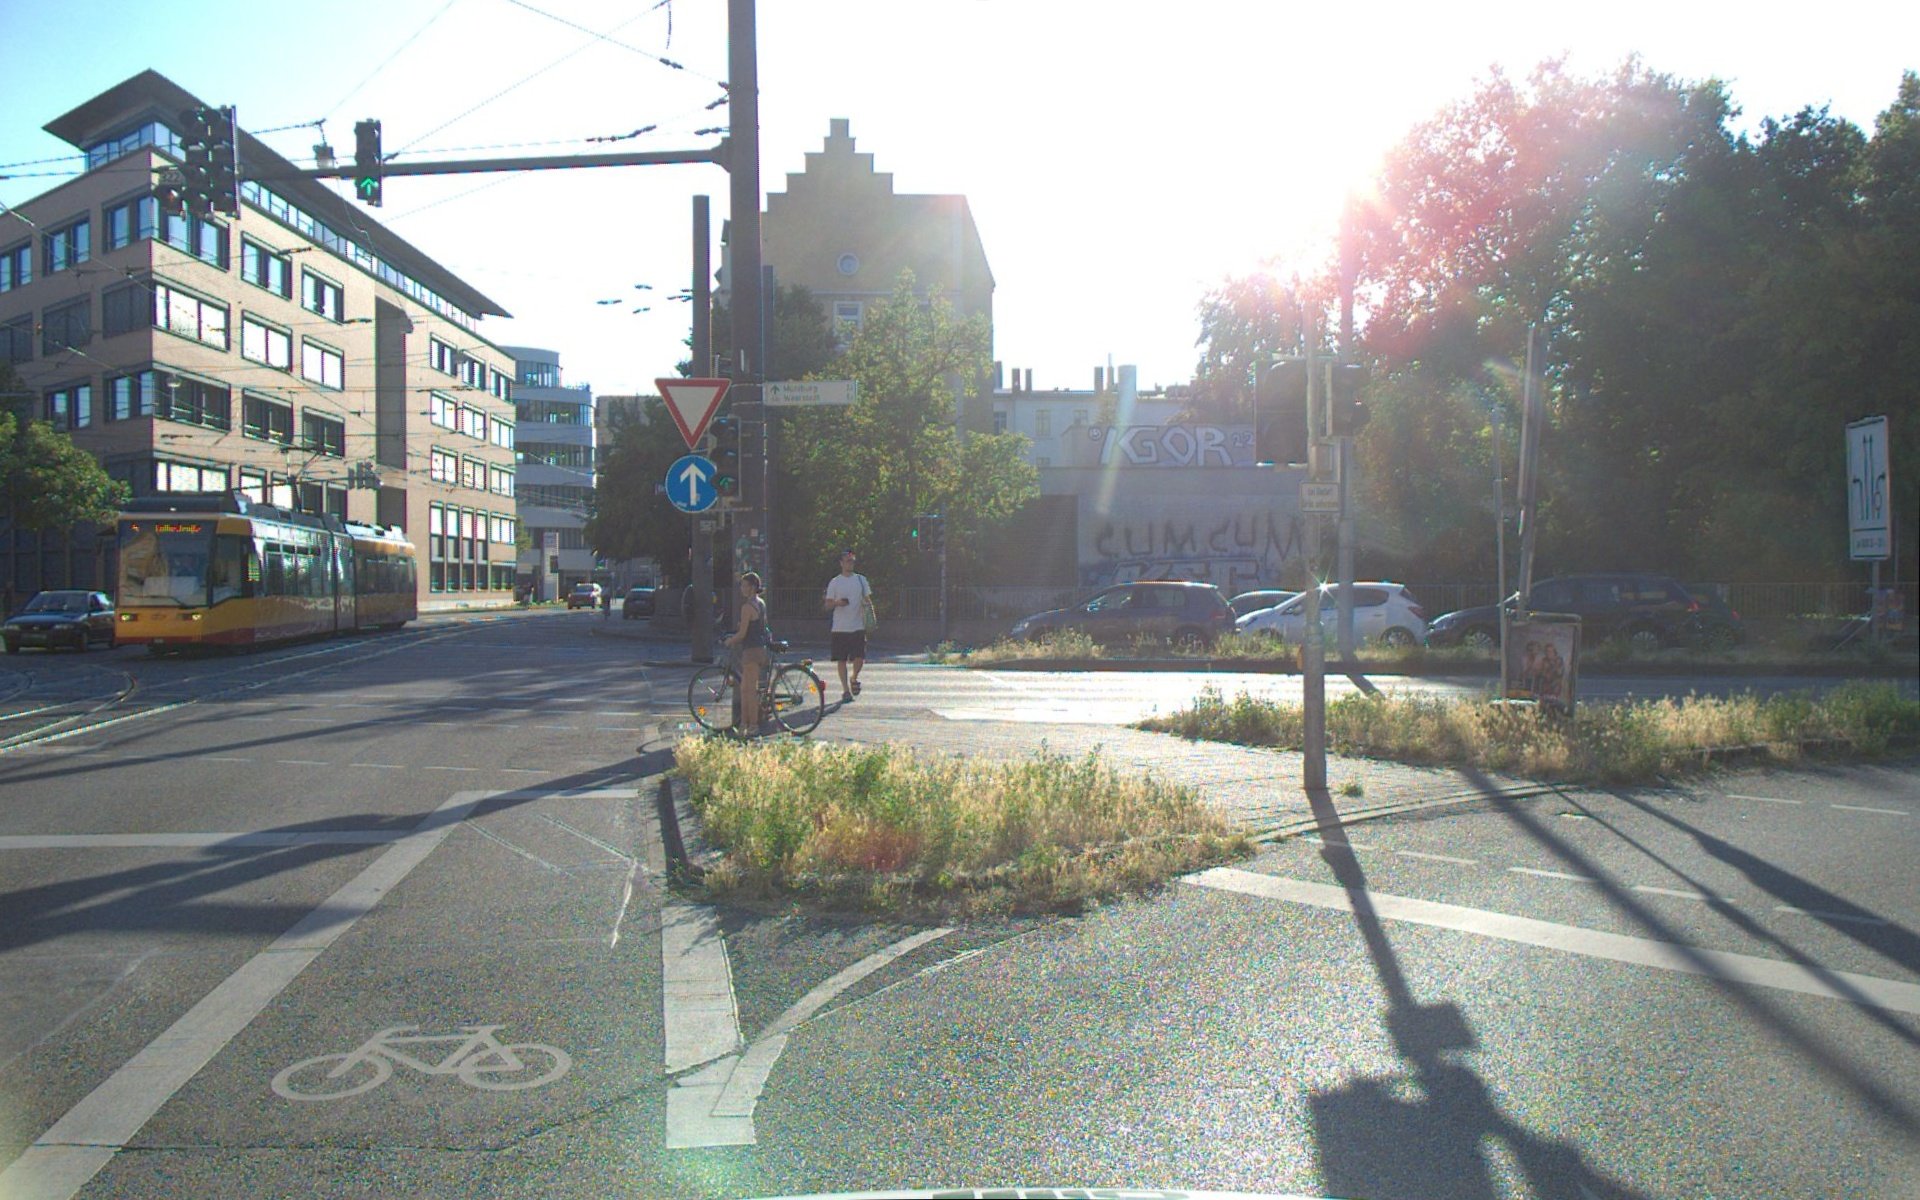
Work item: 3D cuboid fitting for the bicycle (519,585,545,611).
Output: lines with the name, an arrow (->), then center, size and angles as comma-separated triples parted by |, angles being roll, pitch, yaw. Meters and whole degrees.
bicycle -> -28.071, -0.162, 108.489 | 1.009, 1.680, 2.561 | -1, 0, 1

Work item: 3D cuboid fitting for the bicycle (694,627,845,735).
bicycle -> -1.955, 0.801, 16.825 | 1.636, 1.047, 0.398 | 0, 0, 33

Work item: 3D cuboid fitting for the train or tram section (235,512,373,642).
train or tram section -> -19.088, -0.653, 48.416 | 2.810, 3.569, 5.289 | -1, 0, -11

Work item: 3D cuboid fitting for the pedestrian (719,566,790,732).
pedestrian -> -2.089, 0.487, 16.813 | 0.514, 1.660, 0.488 | -1, 0, 32

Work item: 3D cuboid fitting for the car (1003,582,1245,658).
car -> 3.008, 0.358, 30.068 | 4.145, 1.319, 1.726 | -1, 0, 15

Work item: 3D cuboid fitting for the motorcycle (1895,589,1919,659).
motorcycle -> 16.715, 0.380, 26.951 | 2.409, 1.127, 0.862 | -1, 0, 13

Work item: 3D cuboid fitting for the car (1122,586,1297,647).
car -> 5.634, 0.357, 37.219 | 3.798, 1.319, 1.726 | -1, 0, 11

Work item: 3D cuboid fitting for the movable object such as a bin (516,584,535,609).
movable object such as a bin -> -29.750, -0.229, 113.223 | 1.044, 1.657, 0.889 | -1, 0, -3

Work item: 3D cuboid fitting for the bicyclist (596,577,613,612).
bicyclist -> -15.828, -0.256, 73.636 | 0.661, 1.548, 0.812 | -1, 0, -8

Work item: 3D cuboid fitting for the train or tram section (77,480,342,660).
train or tram section -> -17.365, -0.652, 39.456 | 2.810, 3.569, 12.979 | -1, 0, -11

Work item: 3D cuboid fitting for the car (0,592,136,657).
car -> -20.825, 0.537, 38.575 | 1.776, 1.404, 4.152 | -1, 0, -10

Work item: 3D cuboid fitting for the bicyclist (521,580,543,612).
bicyclist -> -28.080, -0.274, 108.517 | 1.008, 2.049, 1.247 | 1, -1, 1

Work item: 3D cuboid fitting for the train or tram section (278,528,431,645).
train or tram section -> -20.398, -0.449, 56.454 | 2.808, 3.569, 11.272 | -1, 0, -9

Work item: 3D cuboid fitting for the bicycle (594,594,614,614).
bicycle -> -15.806, 0.171, 73.529 | 0.681, 0.892, 2.023 | -1, 0, -7

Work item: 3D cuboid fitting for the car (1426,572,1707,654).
car -> 10.152, 0.216, 28.000 | 4.269, 1.319, 1.726 | -1, 0, 13

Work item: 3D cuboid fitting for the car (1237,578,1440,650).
car -> 7.401, 0.271, 32.570 | 3.798, 1.342, 1.726 | -1, 0, 11

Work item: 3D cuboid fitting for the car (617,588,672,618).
car -> -15.102, 0.130, 79.319 | 1.748, 1.412, 4.001 | -1, 0, 1

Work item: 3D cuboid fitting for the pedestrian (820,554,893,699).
pedestrian -> -1.326, 0.328, 21.274 | 0.890, 1.820, 0.827 | -1, 0, -3

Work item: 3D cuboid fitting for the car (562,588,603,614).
car -> -25.447, 0.051, 111.630 | 1.779, 1.643, 4.464 | -1, 0, -1

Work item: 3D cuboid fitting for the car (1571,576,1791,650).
car -> 15.271, 0.271, 35.210 | 3.902, 1.489, 1.861 | -1, 1, 6
